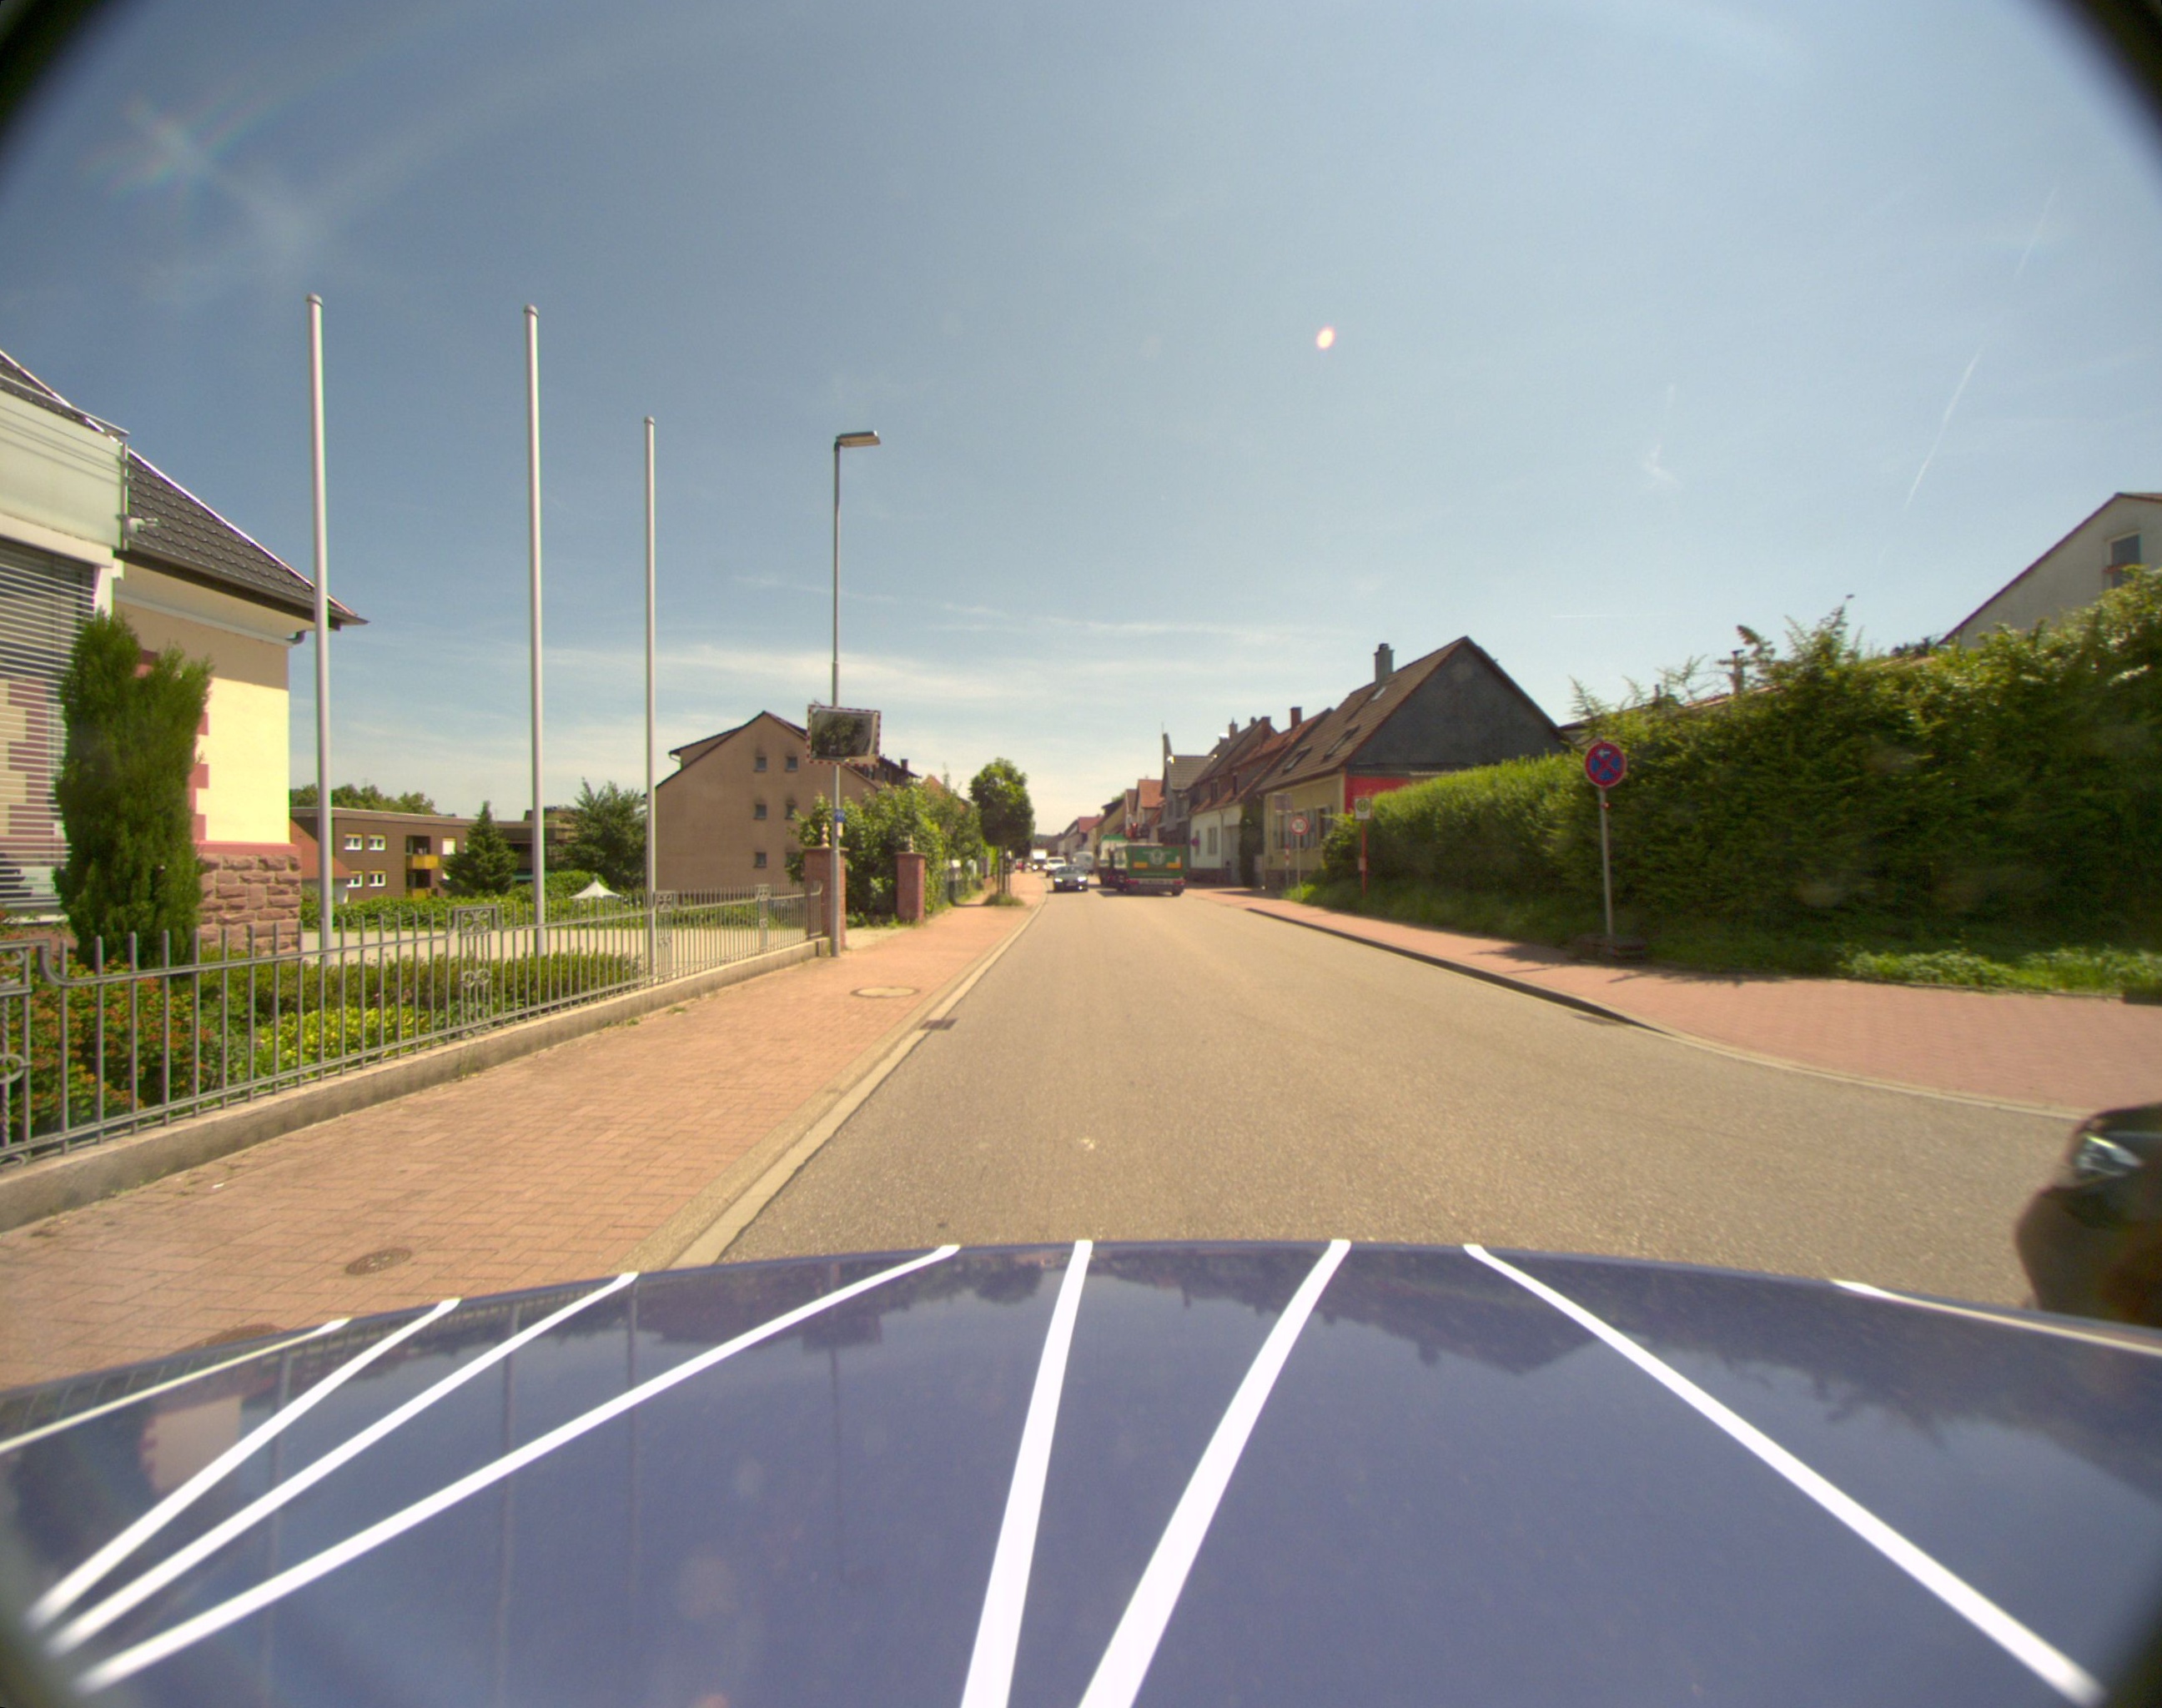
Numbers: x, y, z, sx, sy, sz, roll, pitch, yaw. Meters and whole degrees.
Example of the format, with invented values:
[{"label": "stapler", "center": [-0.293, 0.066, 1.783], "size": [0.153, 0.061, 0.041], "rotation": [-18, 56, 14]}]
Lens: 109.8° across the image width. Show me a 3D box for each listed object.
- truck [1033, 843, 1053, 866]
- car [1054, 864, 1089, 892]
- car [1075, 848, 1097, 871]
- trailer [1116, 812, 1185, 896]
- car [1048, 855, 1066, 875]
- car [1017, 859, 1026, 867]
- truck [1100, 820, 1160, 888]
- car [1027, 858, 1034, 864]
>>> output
[{"label": "truck", "center": [-6.300, 0.135, 124.045], "size": [2.899, 3.516, 12.949], "rotation": [-1, 0, -4]}, {"label": "car", "center": [-0.546, 1.224, 40.322], "size": [1.705, 1.346, 3.999], "rotation": [-2, 0, -2]}, {"label": "car", "center": [0.503, 0.594, 81.893], "size": [2.035, 2.446, 6.066], "rotation": [1, 0, -3]}, {"label": "trailer", "center": [3.207, 0.002, 37.133], "size": [2.536, 3.627, 8.461], "rotation": [0, 0, -1]}, {"label": "car", "center": [-2.300, 1.038, 72.901], "size": [1.637, 1.833, 3.569], "rotation": [-1, 0, -3]}, {"label": "car", "center": [-11.283, 1.718, 143.368], "size": [1.637, 1.572, 3.568], "rotation": [1, 0, -4]}, {"label": "truck", "center": [2.791, 0.019, 46.414], "size": [2.574, 3.678, 10.076], "rotation": [0, 0, -3]}, {"label": "car", "center": [-11.996, 1.605, 181.160], "size": [1.508, 1.432, 3.534], "rotation": [-3, 1, -4]}]
